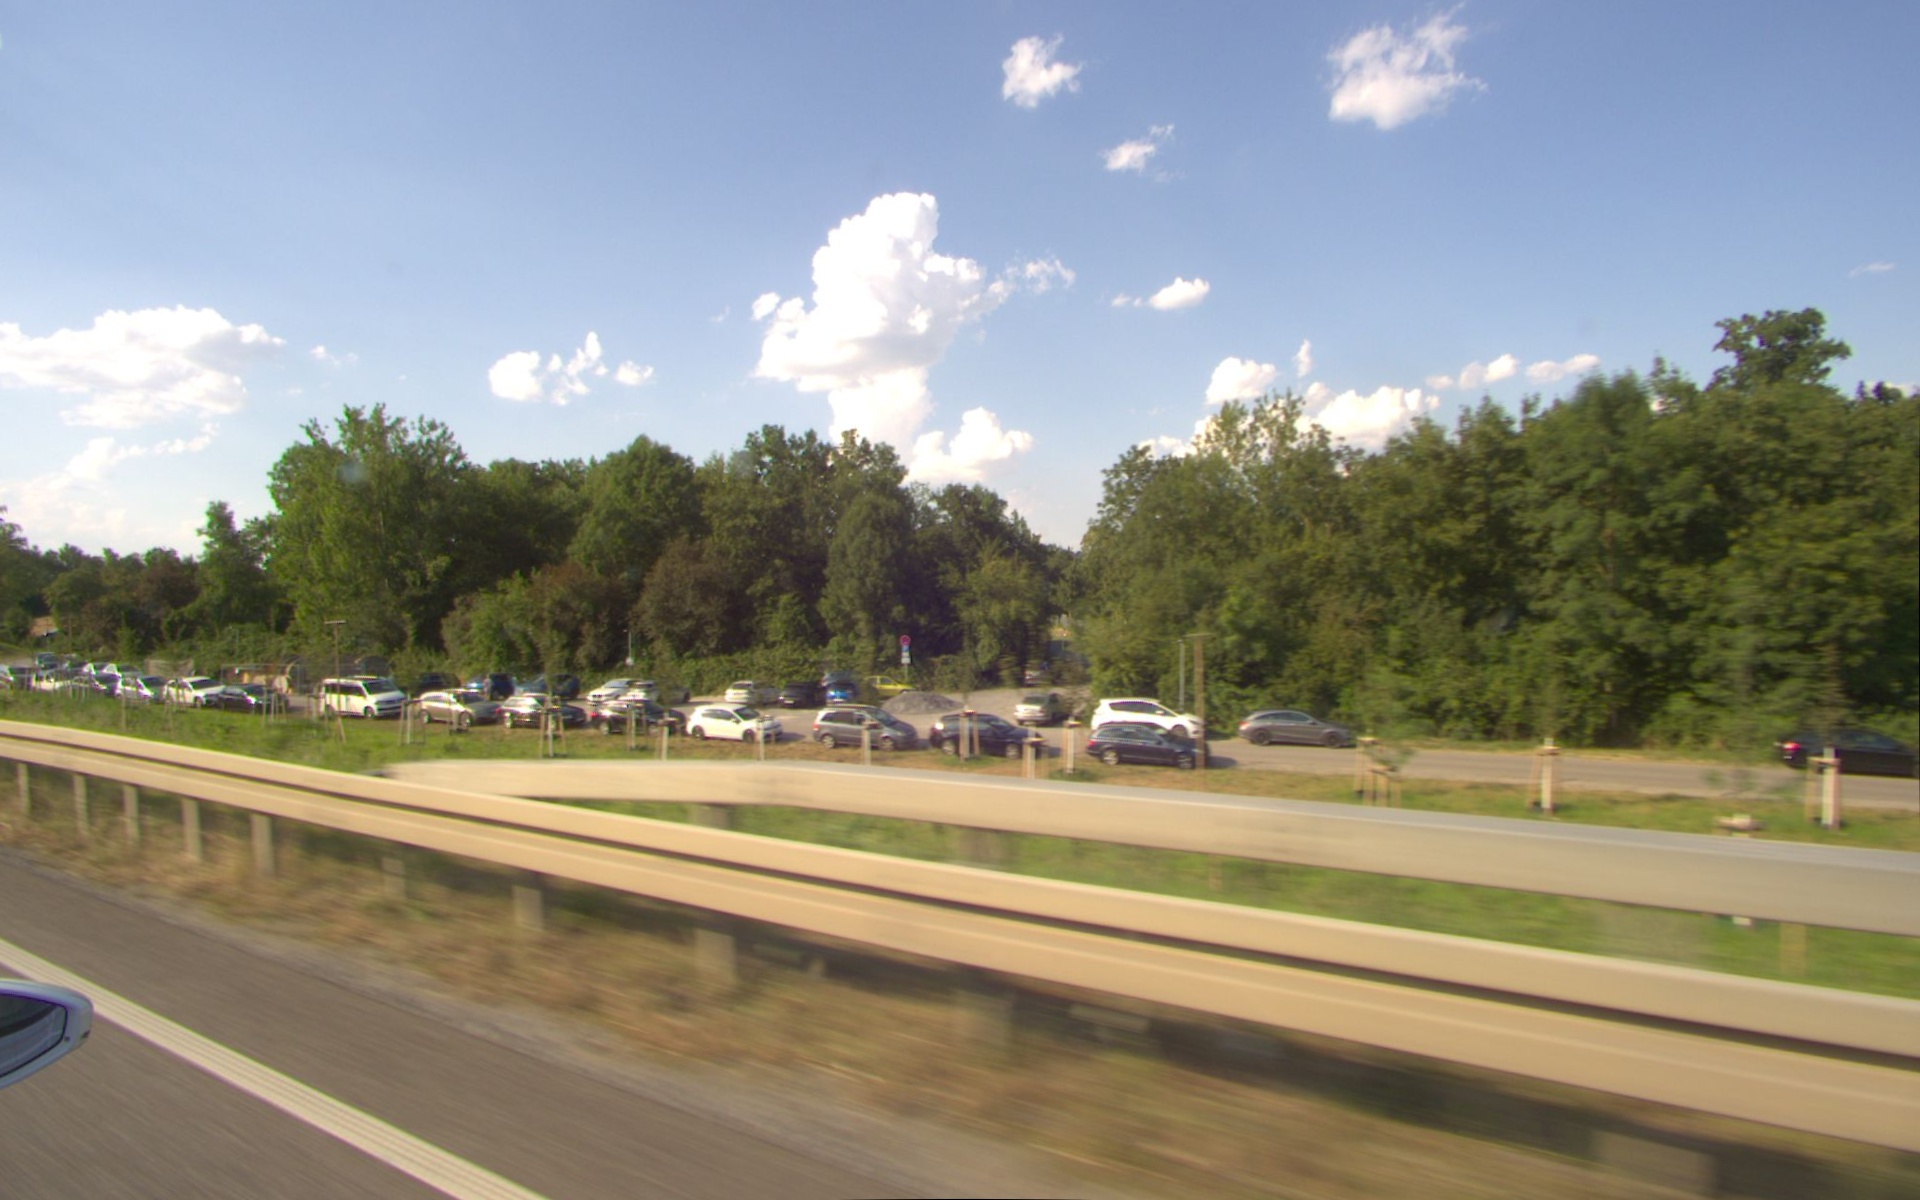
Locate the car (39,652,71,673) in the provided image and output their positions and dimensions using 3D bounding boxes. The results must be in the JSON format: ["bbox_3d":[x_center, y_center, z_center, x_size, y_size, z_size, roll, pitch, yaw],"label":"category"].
[{"bbox_3d":[-76.852,5.260,85.090,1.687,1.418,4.744,-3,2,-39],"label":"car"}]

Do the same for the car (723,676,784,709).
[{"bbox_3d":[-11.544,5.145,56.229,1.702,1.475,4.413,0,-1,12],"label":"car"}]

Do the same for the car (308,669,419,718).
[{"bbox_3d":[-30.945,4.812,51.944,5.287,2.046,2.119,0,3,22],"label":"car"}]

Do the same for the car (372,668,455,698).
[{"bbox_3d":[-34.059,5.142,62.483,1.809,1.509,4.220,2,0,37],"label":"car"}]

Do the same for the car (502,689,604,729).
[{"bbox_3d":[-19.196,5.120,47.249,4.316,1.502,1.820,0,2,18],"label":"car"}]

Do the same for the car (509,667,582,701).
[{"bbox_3d":[-24.991,5.047,60.580,1.800,1.765,4.242,0,-1,16],"label":"car"}]

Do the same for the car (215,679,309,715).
[{"bbox_3d":[-38.317,5.296,54.967,4.700,1.503,1.892,0,3,22],"label":"car"}]

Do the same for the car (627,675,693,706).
[{"bbox_3d":[-17.059,5.124,57.147,1.588,1.474,4.243,0,-2,15],"label":"car"}]

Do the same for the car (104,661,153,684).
[{"bbox_3d":[-61.333,5.319,73.844,3.889,1.530,1.697,-1,0,32],"label":"car"}]

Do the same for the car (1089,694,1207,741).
[{"bbox_3d":[7.871,4.884,41.985,4.629,1.688,1.655,-1,0,23],"label":"car"}]

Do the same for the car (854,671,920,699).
[{"bbox_3d":[-4.321,5.039,59.421,3.605,1.475,1.498,0,1,11],"label":"car"}]

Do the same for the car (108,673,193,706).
[{"bbox_3d":[-48.740,5.352,60.307,4.700,1.581,1.892,0,3,22],"label":"car"}]

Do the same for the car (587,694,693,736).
[{"bbox_3d":[-14.430,5.152,45.181,4.316,1.502,1.820,0,2,18],"label":"car"}]

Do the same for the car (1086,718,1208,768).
[{"bbox_3d":[6.846,5.180,36.635,4.150,1.516,1.656,-1,0,20],"label":"car"}]

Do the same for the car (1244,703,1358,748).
[{"bbox_3d":[13.448,4.921,39.616,4.150,1.516,1.656,-1,0,20],"label":"car"}]

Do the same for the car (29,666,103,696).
[{"bbox_3d":[-59.069,5.332,66.139,4.704,1.581,1.890,1,3,25],"label":"car"}]

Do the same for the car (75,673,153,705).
[{"bbox_3d":[-53.068,5.534,62.796,4.704,1.581,1.890,1,3,25],"label":"car"}]

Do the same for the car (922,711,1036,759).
[{"bbox_3d":[0.763,5.266,39.385,4.180,1.420,1.820,0,2,18],"label":"car"}]

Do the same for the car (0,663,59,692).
[{"bbox_3d":[-64.449,5.334,68.920,4.704,1.581,1.890,1,3,25],"label":"car"}]

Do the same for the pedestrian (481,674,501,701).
[{"bbox_3d":[-27.949,5.198,59.659,0.909,1.491,0.882,-2,3,-34],"label":"pedestrian"}]

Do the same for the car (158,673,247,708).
[{"bbox_3d":[-43.869,5.211,57.977,4.700,1.581,1.892,0,3,22],"label":"car"}]

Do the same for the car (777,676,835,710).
[{"bbox_3d":[-8.540,5.141,55.722,1.588,1.475,4.242,0,0,15],"label":"car"}]

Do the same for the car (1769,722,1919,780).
[{"bbox_3d":[29.056,4.914,32.732,3.771,1.516,1.653,-2,-1,29],"label":"car"}]

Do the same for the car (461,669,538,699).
[{"bbox_3d":[-28.385,5.157,61.845,1.802,1.625,4.238,-1,-2,21],"label":"car"}]

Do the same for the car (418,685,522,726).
[{"bbox_3d":[-24.064,5.139,49.143,4.700,1.503,1.892,0,3,22],"label":"car"}]

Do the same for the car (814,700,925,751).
[{"bbox_3d":[-3.710,5.127,41.319,4.180,1.681,1.820,0,2,18],"label":"car"}]

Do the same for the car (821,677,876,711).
[{"bbox_3d":[-6.086,5.139,55.179,1.588,1.475,4.241,0,0,15],"label":"car"}]

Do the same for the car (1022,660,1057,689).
[{"bbox_3d":[5.445,5.045,68.226,1.588,1.476,4.239,0,2,15],"label":"car"}]

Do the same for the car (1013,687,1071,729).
[{"bbox_3d":[3.910,5.043,47.212,1.589,1.475,4.235,1,1,21],"label":"car"}]

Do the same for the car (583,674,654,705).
[{"bbox_3d":[-19.717,5.141,57.980,1.740,1.517,4.242,0,-1,16],"label":"car"}]

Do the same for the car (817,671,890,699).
[{"bbox_3d":[-6.549,5.202,61.504,4.166,1.475,1.616,0,1,11],"label":"car"}]

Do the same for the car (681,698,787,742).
[{"bbox_3d":[-9.807,5.196,43.485,4.180,1.502,1.820,0,2,18],"label":"car"}]
